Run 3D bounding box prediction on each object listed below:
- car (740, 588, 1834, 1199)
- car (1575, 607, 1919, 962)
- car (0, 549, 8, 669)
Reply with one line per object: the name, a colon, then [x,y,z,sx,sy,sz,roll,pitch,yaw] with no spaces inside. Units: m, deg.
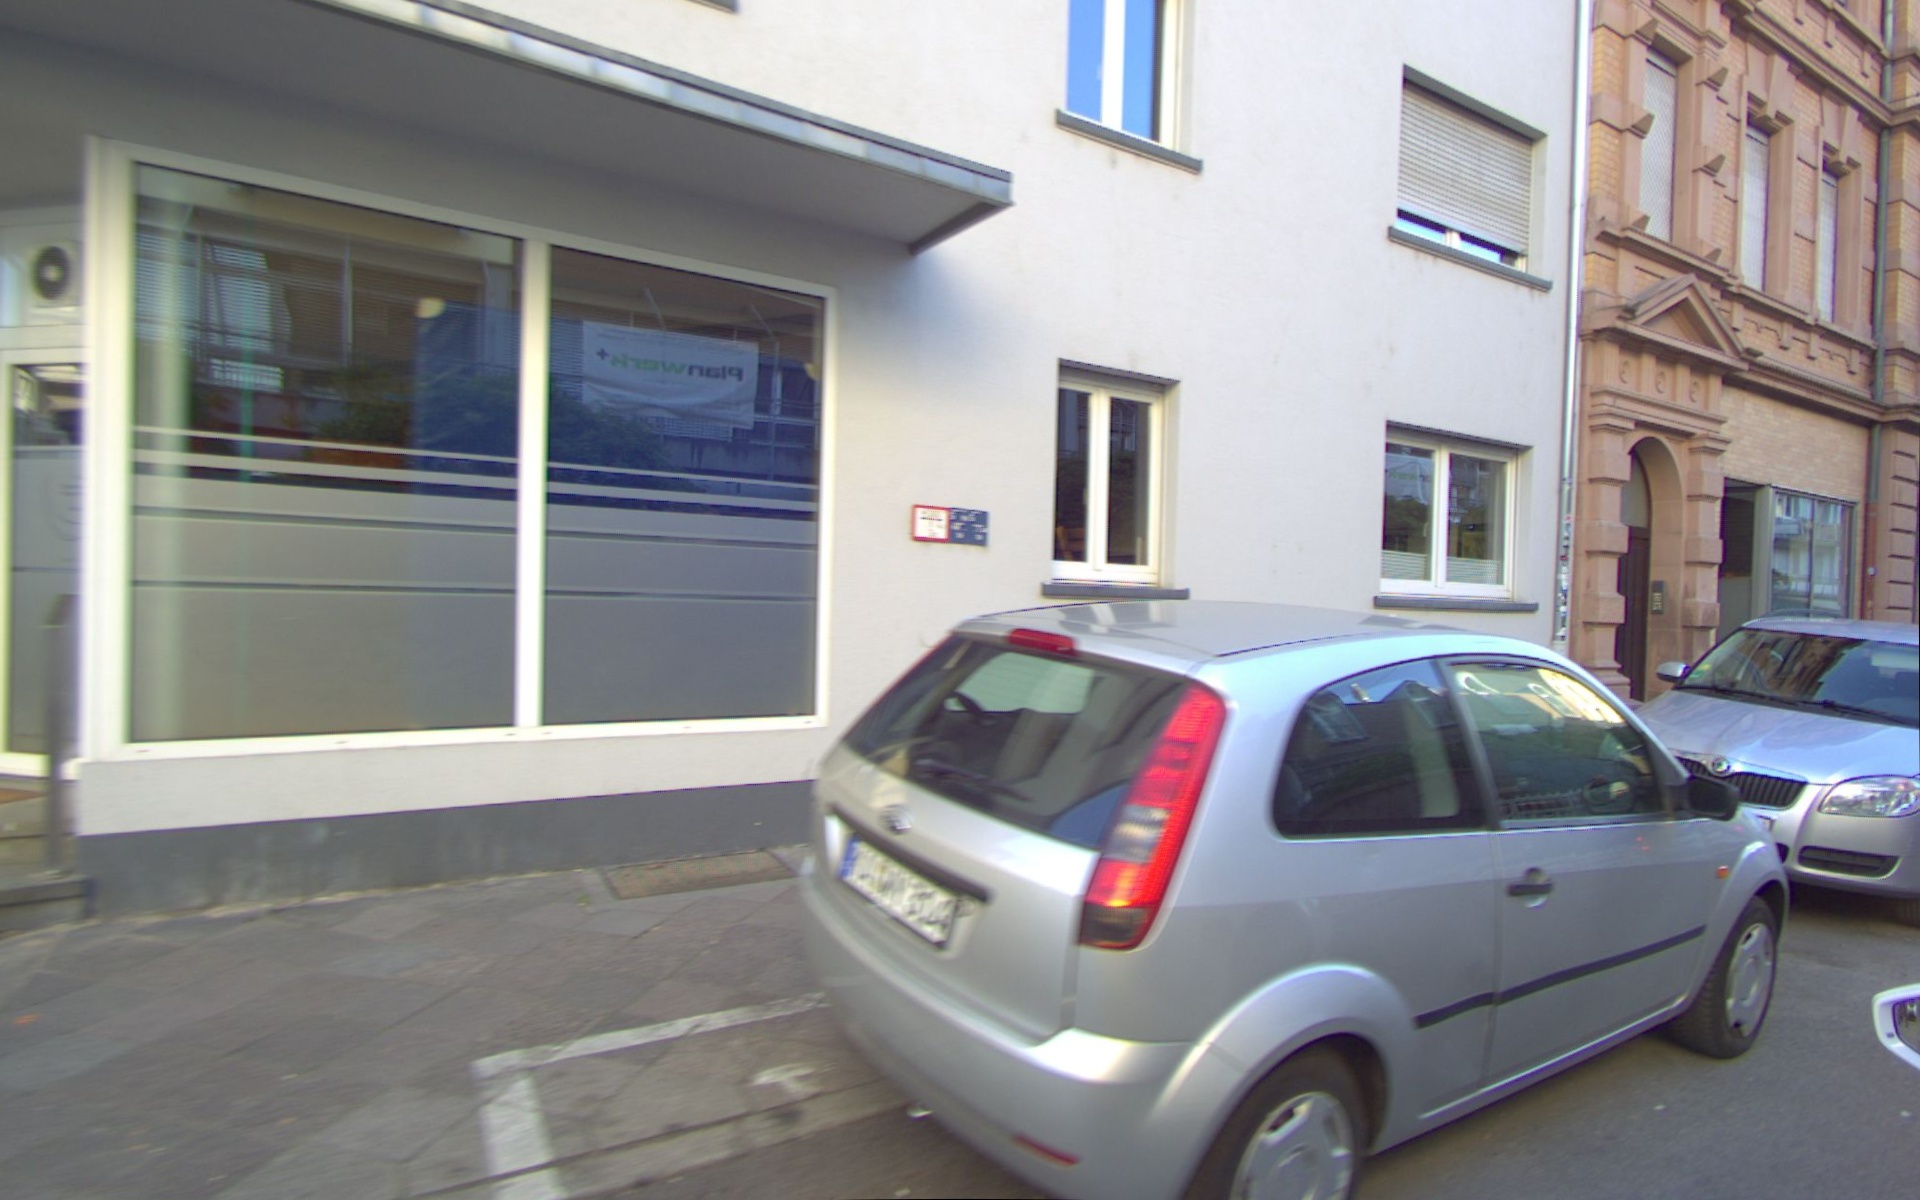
car: [1.243,0.742,3.363,3.517,1.449,1.622,1,1,-33]
car: [5.617,0.898,6.284,3.559,1.529,1.546,1,4,-33]
car: [-13.347,0.160,12.066,1.978,1.675,4.056,1,1,-32]
